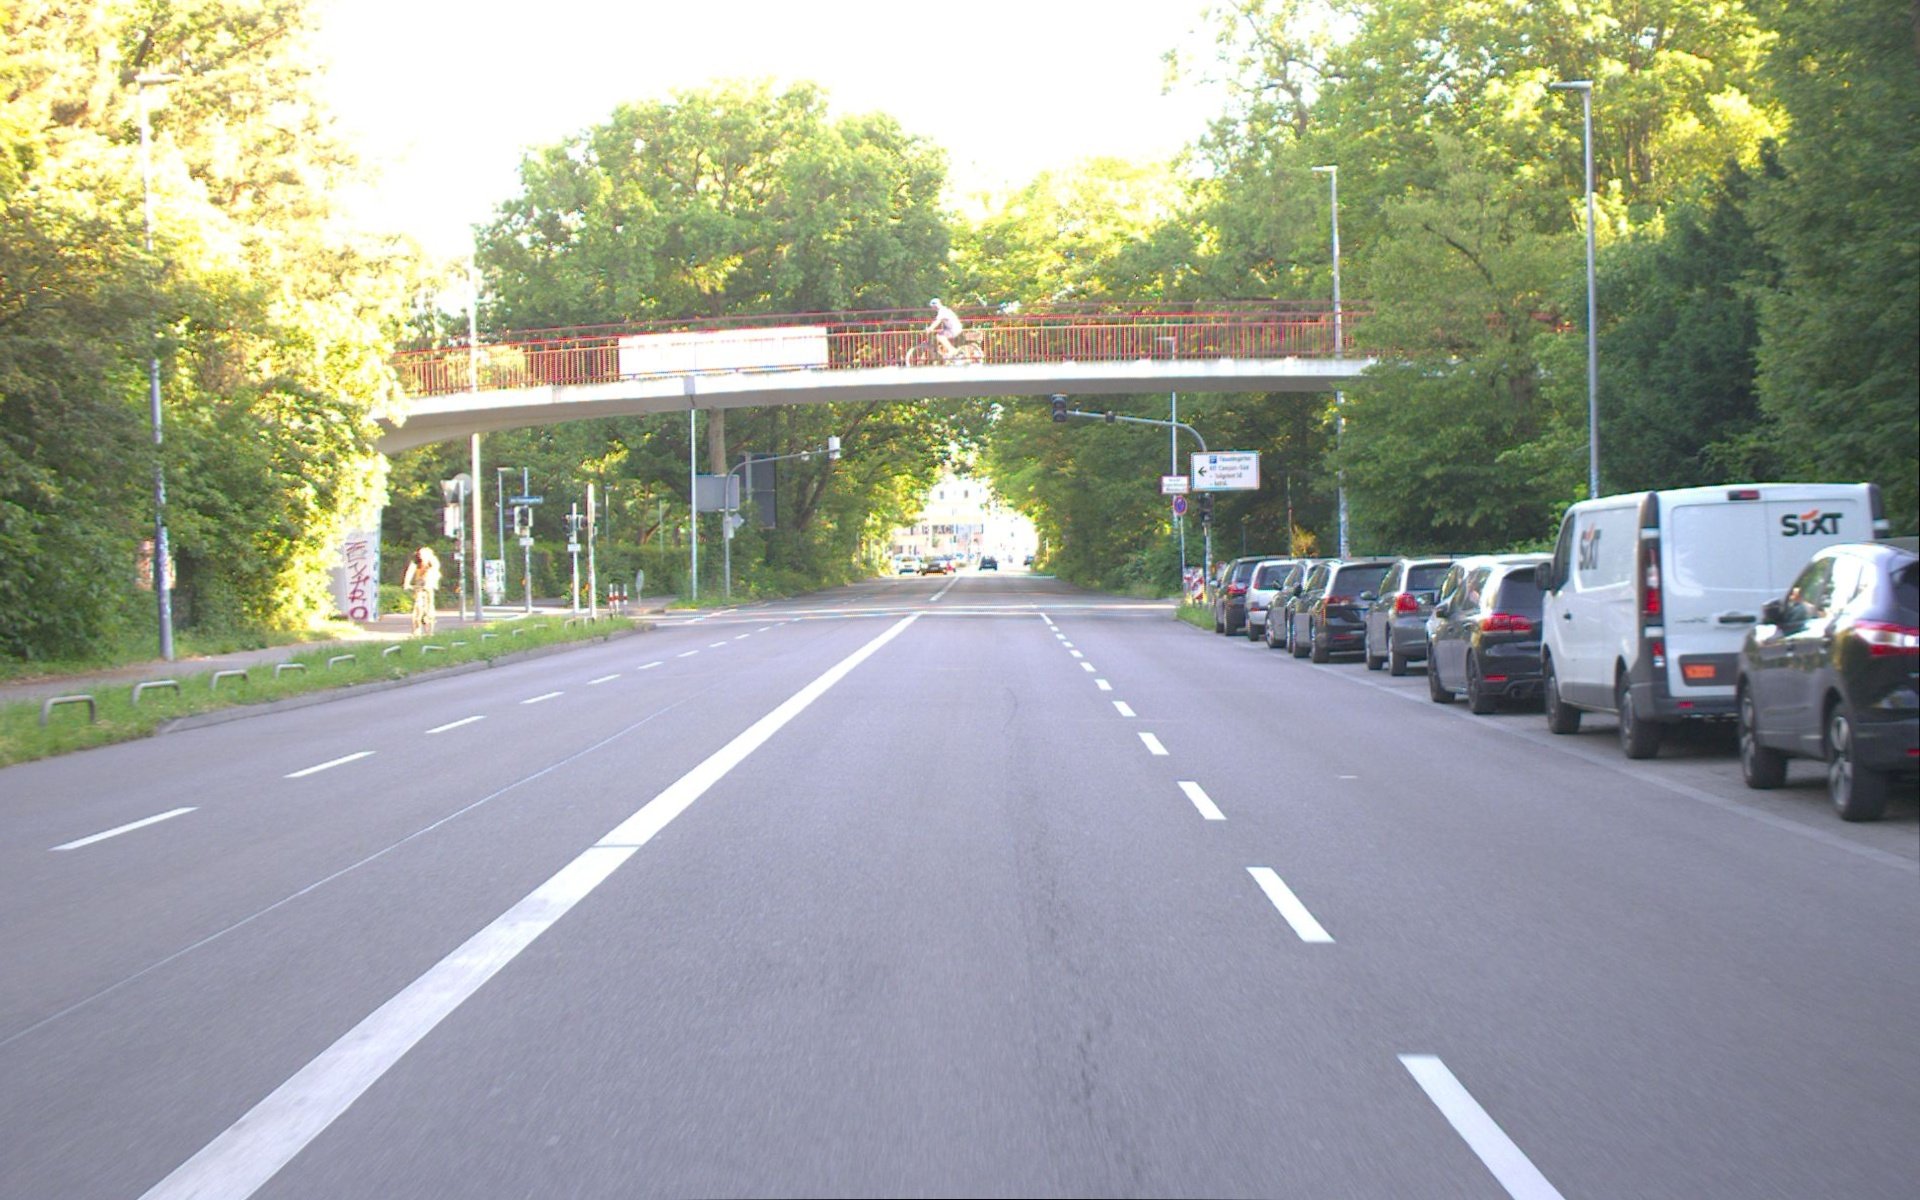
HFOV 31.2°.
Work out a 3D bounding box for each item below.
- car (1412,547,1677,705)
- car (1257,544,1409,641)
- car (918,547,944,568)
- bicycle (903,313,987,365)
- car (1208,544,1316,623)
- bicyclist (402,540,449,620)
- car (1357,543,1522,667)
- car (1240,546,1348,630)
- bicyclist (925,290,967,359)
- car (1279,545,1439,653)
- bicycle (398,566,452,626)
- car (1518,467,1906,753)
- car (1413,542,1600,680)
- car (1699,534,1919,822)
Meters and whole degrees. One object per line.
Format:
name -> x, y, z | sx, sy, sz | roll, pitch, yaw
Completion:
car -> 5.631, 0.212, 33.600 | 1.869, 1.401, 4.369 | -1, 1, 1
car -> 5.932, -0.140, 55.219 | 1.774, 1.449, 5.038 | -1, 1, -1
car -> -2.162, -3.159, 253.938 | 1.887, 1.501, 4.364 | -1, 1, 0
bicycle -> -0.358, -6.196, 81.559 | 1.987, 1.143, 0.714 | 1, 0, -1
car -> 5.867, -0.329, 67.121 | 1.774, 1.449, 4.388 | -1, 1, 1
bicyclist -> -10.464, -0.387, 67.309 | 0.712, 1.553, 1.143 | 1, 0, 0
car -> 6.007, 0.040, 43.418 | 1.586, 1.449, 3.943 | -1, 1, 1
car -> 6.067, -0.229, 62.707 | 1.774, 1.449, 4.014 | -1, 1, 3
bicyclist -> -0.335, -6.535, 81.559 | 0.970, 1.580, 0.714 | 1, 0, -1
car -> 5.721, -0.041, 49.787 | 1.637, 1.449, 4.898 | -1, 1, -1
bicycle -> -10.468, -0.083, 67.310 | 0.712, 1.143, 1.993 | 1, 0, 0
car -> 5.754, 0.042, 27.004 | 1.869, 1.974, 5.475 | -1, 1, 1
car -> 6.108, 0.098, 38.763 | 1.586, 1.449, 3.798 | -1, 1, 2
car -> 5.794, 0.383, 20.680 | 1.759, 1.542, 4.429 | -1, 1, 1
